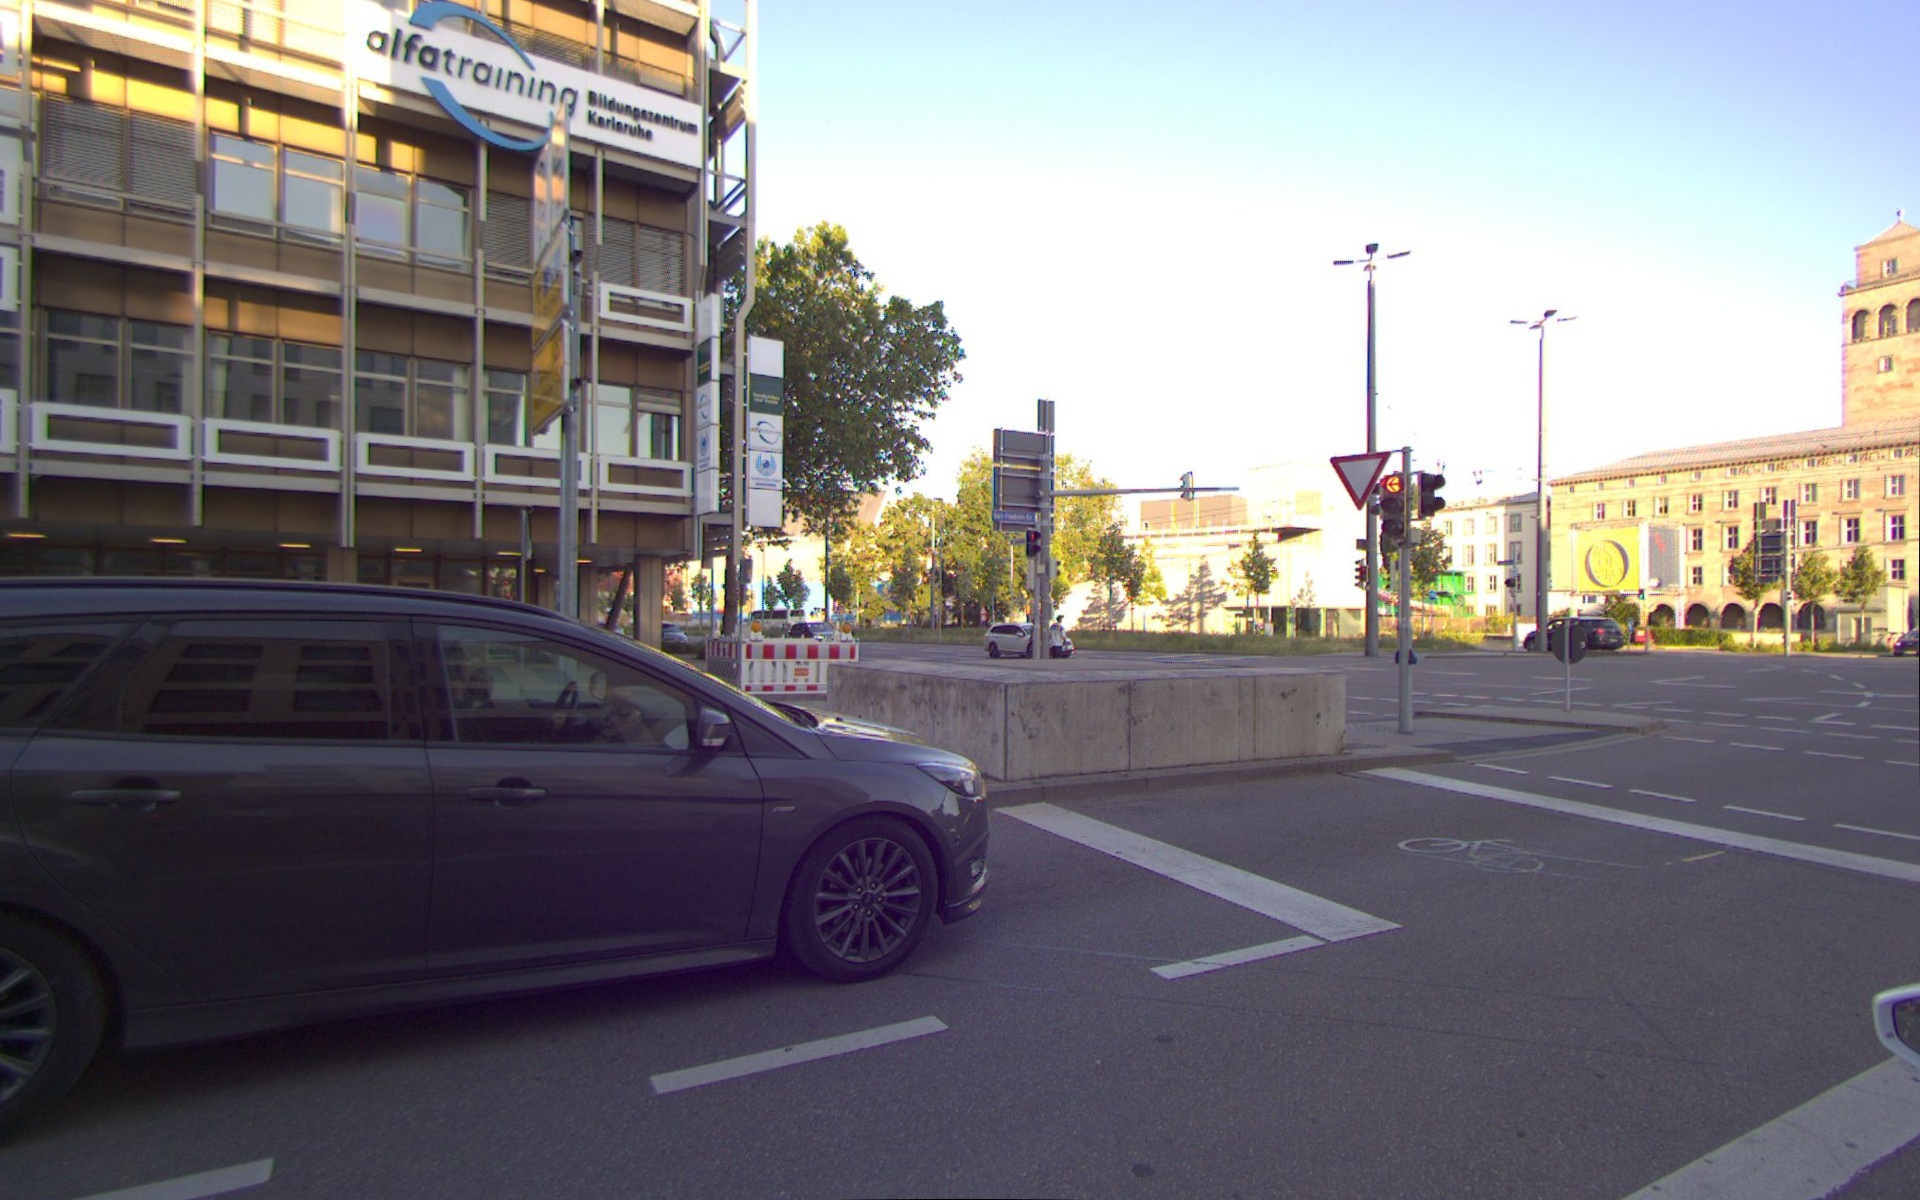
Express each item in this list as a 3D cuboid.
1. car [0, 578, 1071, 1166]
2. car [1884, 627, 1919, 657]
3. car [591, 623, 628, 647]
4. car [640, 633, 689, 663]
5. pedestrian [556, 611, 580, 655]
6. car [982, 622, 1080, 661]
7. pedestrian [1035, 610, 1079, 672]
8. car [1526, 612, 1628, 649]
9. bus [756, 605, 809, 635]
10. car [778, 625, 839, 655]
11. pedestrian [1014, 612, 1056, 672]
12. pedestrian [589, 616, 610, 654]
[{"bbox_3d":[-1.826,0.686,3.900,4.330,1.482,1.748,1,1,-31],"label":"car"},{"bbox_3d":[51.272,2.219,53.638,4.111,1.485,1.813,0,-1,-32],"label":"car"},{"bbox_3d":[-24.453,2.413,69.977,1.722,1.605,3.764,0,-1,-31],"label":"car"},{"bbox_3d":[-17.300,2.778,58.657,1.722,1.605,4.554,0,-1,-30],"label":"car"},{"bbox_3d":[-16.673,1.398,42.738,0.749,1.830,0.715,2,0,-35],"label":"pedestrian"},{"bbox_3d":[2.883,1.692,41.852,1.829,1.476,4.555,0,-1,-30],"label":"car"},{"bbox_3d":[2.771,1.152,28.714,0.949,1.744,0.816,1,-1,-34],"label":"pedestrian"},{"bbox_3d":[28.044,1.368,45.788,1.713,1.626,4.128,0,-1,-9],"label":"car"},{"bbox_3d":[-23.114,2.599,130.177,2.959,3.818,10.341,1,-1,-34],"label":"bus"},{"bbox_3d":[-7.854,2.043,51.925,1.829,1.476,3.921,0,-1,-30],"label":"car"},{"bbox_3d":[2.203,1.228,29.545,0.949,1.744,0.816,1,-1,-34],"label":"pedestrian"},{"bbox_3d":[-15.391,1.497,42.859,0.660,1.606,0.715,2,0,-34],"label":"pedestrian"}]
